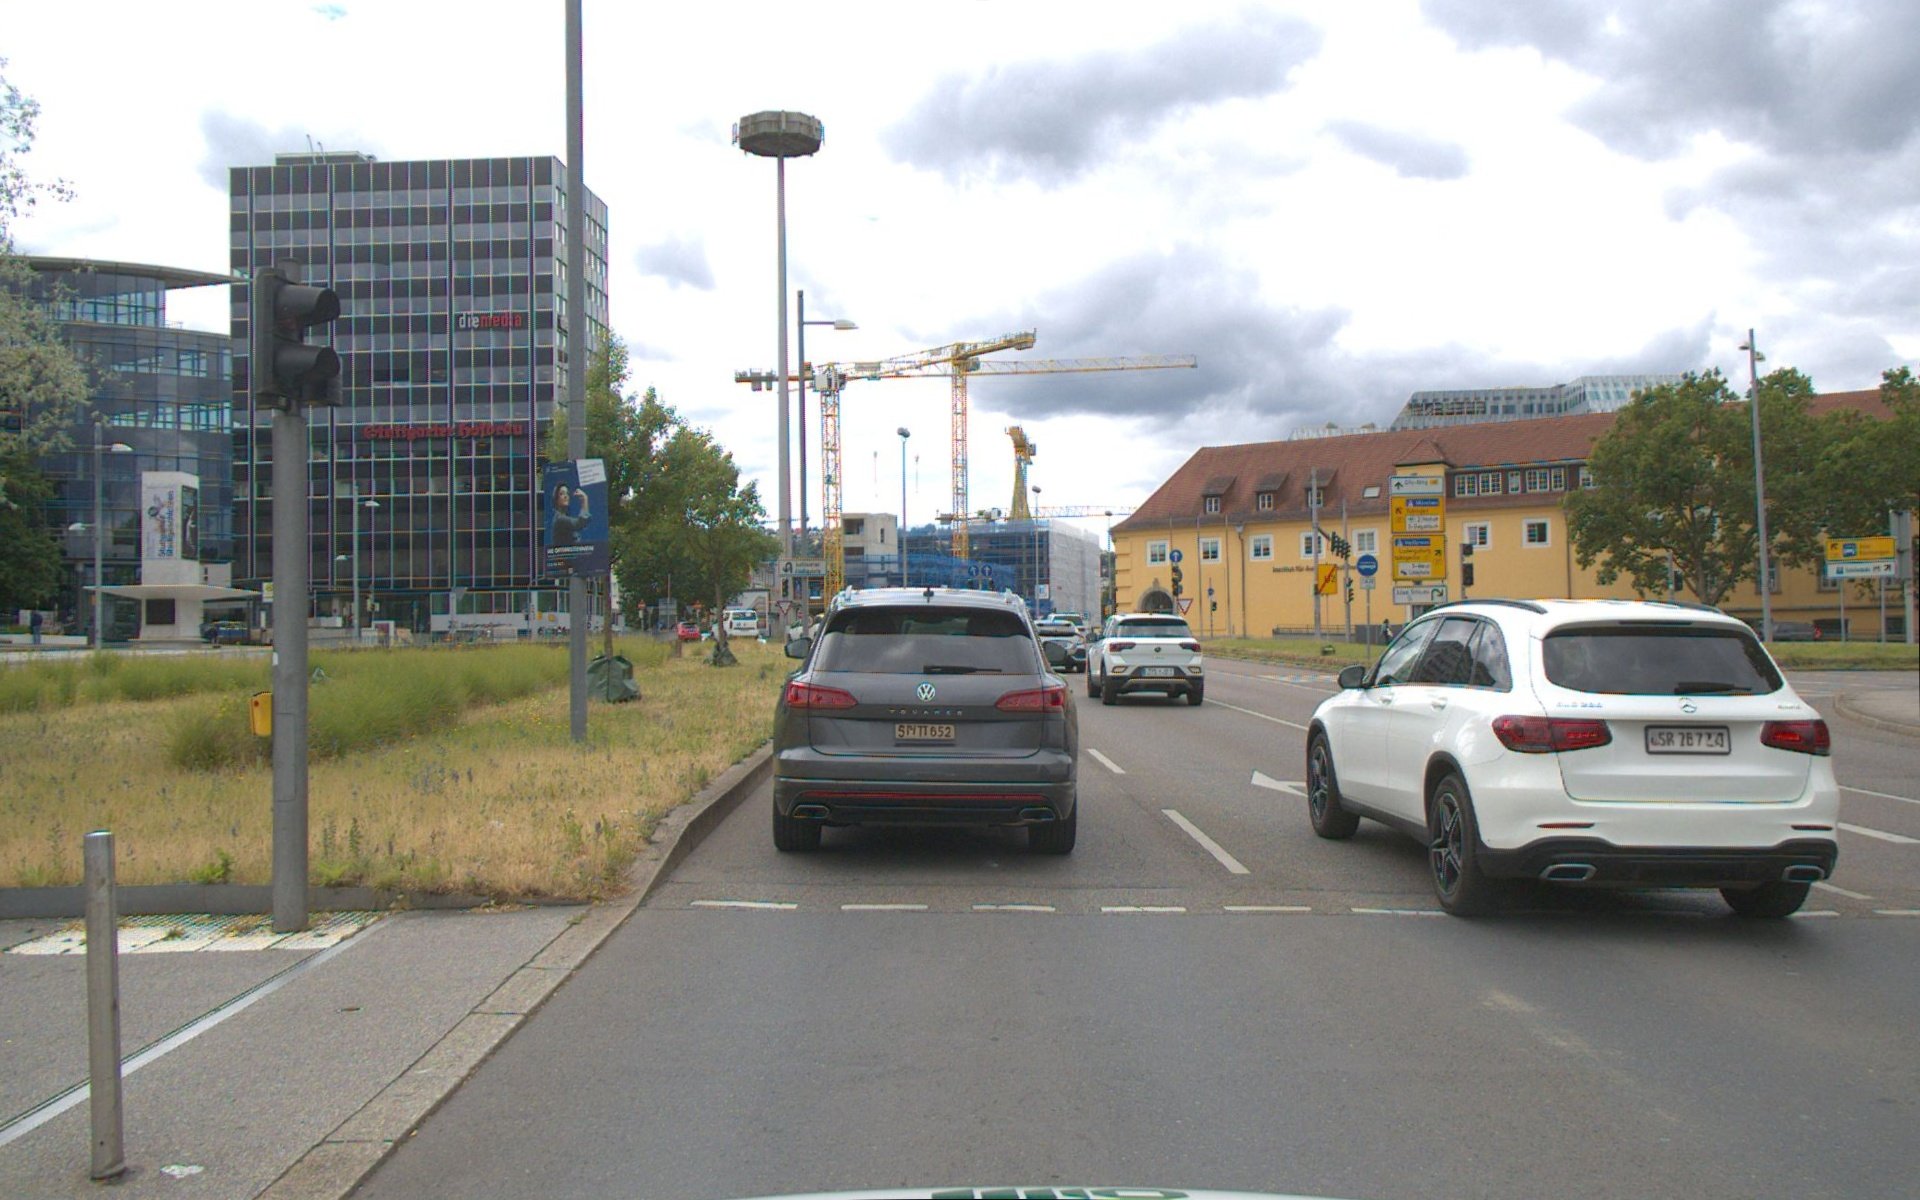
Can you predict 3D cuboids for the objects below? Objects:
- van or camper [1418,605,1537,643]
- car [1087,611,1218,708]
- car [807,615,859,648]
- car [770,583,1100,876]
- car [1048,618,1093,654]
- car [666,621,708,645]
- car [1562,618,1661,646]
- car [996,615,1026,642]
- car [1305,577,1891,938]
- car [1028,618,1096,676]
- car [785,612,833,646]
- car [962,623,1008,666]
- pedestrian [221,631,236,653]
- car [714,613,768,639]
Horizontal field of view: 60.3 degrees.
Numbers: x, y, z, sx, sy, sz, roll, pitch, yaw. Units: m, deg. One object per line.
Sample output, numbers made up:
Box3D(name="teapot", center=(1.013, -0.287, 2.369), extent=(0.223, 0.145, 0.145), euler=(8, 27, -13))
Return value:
Box3D(name="van or camper", center=(28.139, 1.323, 90.025), extent=(5.902, 2.049, 2.012), euler=(-1, -1, 35))
Box3D(name="car", center=(3.389, 1.018, 29.737), extent=(1.855, 1.613, 3.800), euler=(0, 0, -1))
Box3D(name="car", center=(-6.004, 1.462, 77.896), extent=(1.784, 1.523, 3.890), euler=(0, 0, -15))
Box3D(name="car", center=(-0.174, 0.751, 11.501), extent=(1.893, 1.676, 3.999), euler=(0, 0, -1))
Box3D(name="car", center=(4.941, 1.596, 74.412), extent=(1.766, 1.529, 3.981), euler=(0, 0, 0))
Box3D(name="car", center=(-18.413, 2.213, 111.549), extent=(1.698, 1.529, 3.946), euler=(0, -1, -27))
Box3D(name="car", center=(33.922, 1.658, 86.165), extent=(4.592, 1.445, 1.593), euler=(-1, -1, 31))
Box3D(name="car", center=(3.028, 1.698, 98.957), extent=(1.683, 1.529, 3.981), euler=(0, 0, 0))
Box3D(name="car", center=(3.434, 0.742, 9.906), extent=(1.782, 1.676, 4.378), euler=(0, 0, -1))
Box3D(name="car", center=(2.818, 1.291, 46.556), extent=(1.683, 1.529, 4.143), euler=(0, 0, 0))
Box3D(name="car", center=(-9.089, 1.697, 99.442), extent=(1.867, 1.638, 3.976), euler=(-1, 5, -21))
Box3D(name="car", center=(1.000, 1.694, 63.804), extent=(1.683, 1.529, 3.982), euler=(1, 0, 2))
Box3D(name="pedestrian", center=(-36.917, 2.107, 83.447), extent=(0.465, 1.100, 0.560), euler=(0, -1, 0))
Box3D(name="car", center=(-13.438, 1.546, 101.224), extent=(2.213, 1.529, 4.581), euler=(0, 0, -22))
